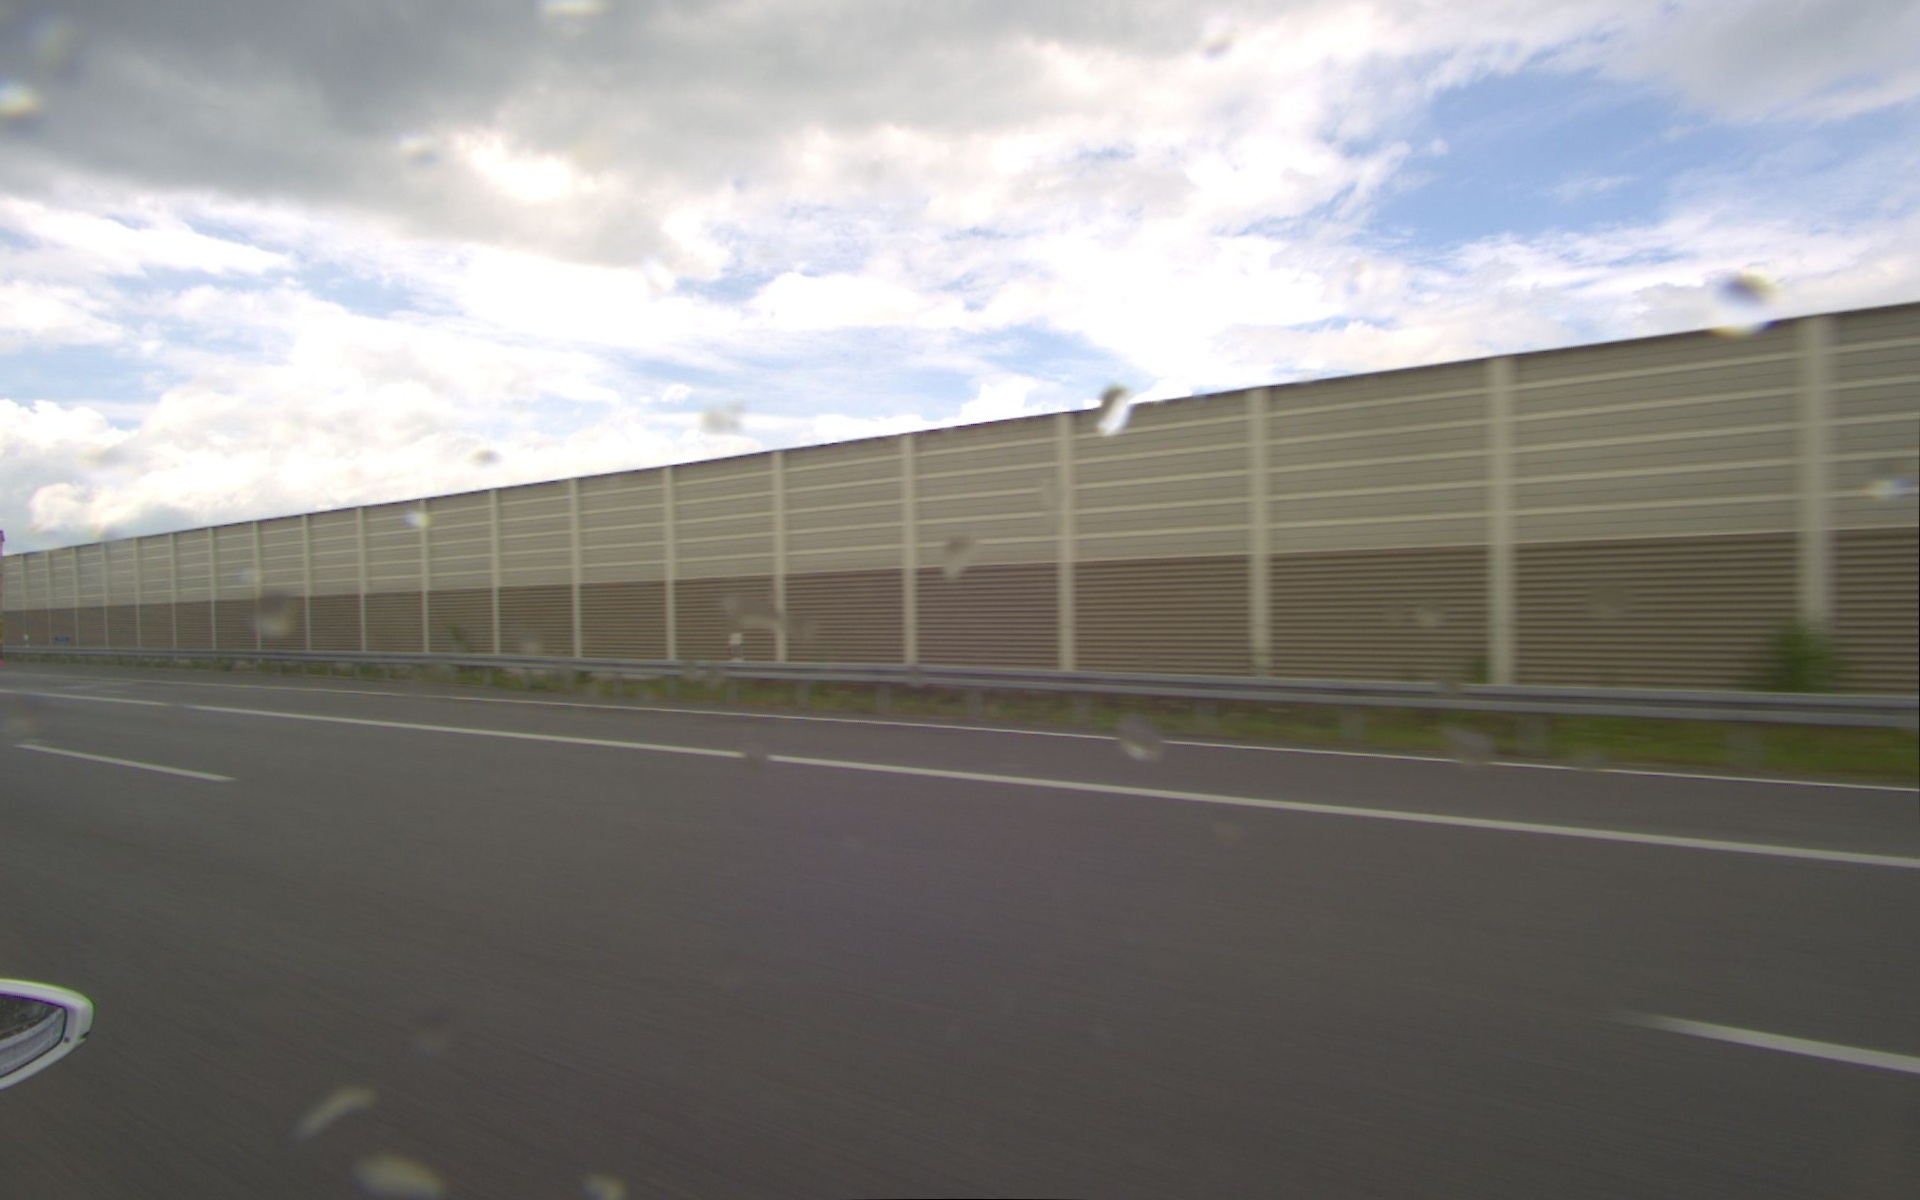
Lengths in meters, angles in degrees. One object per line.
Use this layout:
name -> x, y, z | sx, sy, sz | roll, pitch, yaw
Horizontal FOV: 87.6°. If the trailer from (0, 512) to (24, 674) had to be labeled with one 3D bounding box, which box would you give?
trailer -> -30.610, -0.046, 28.251 | 14.249, 4.084, 2.756 | -1, -1, 33
